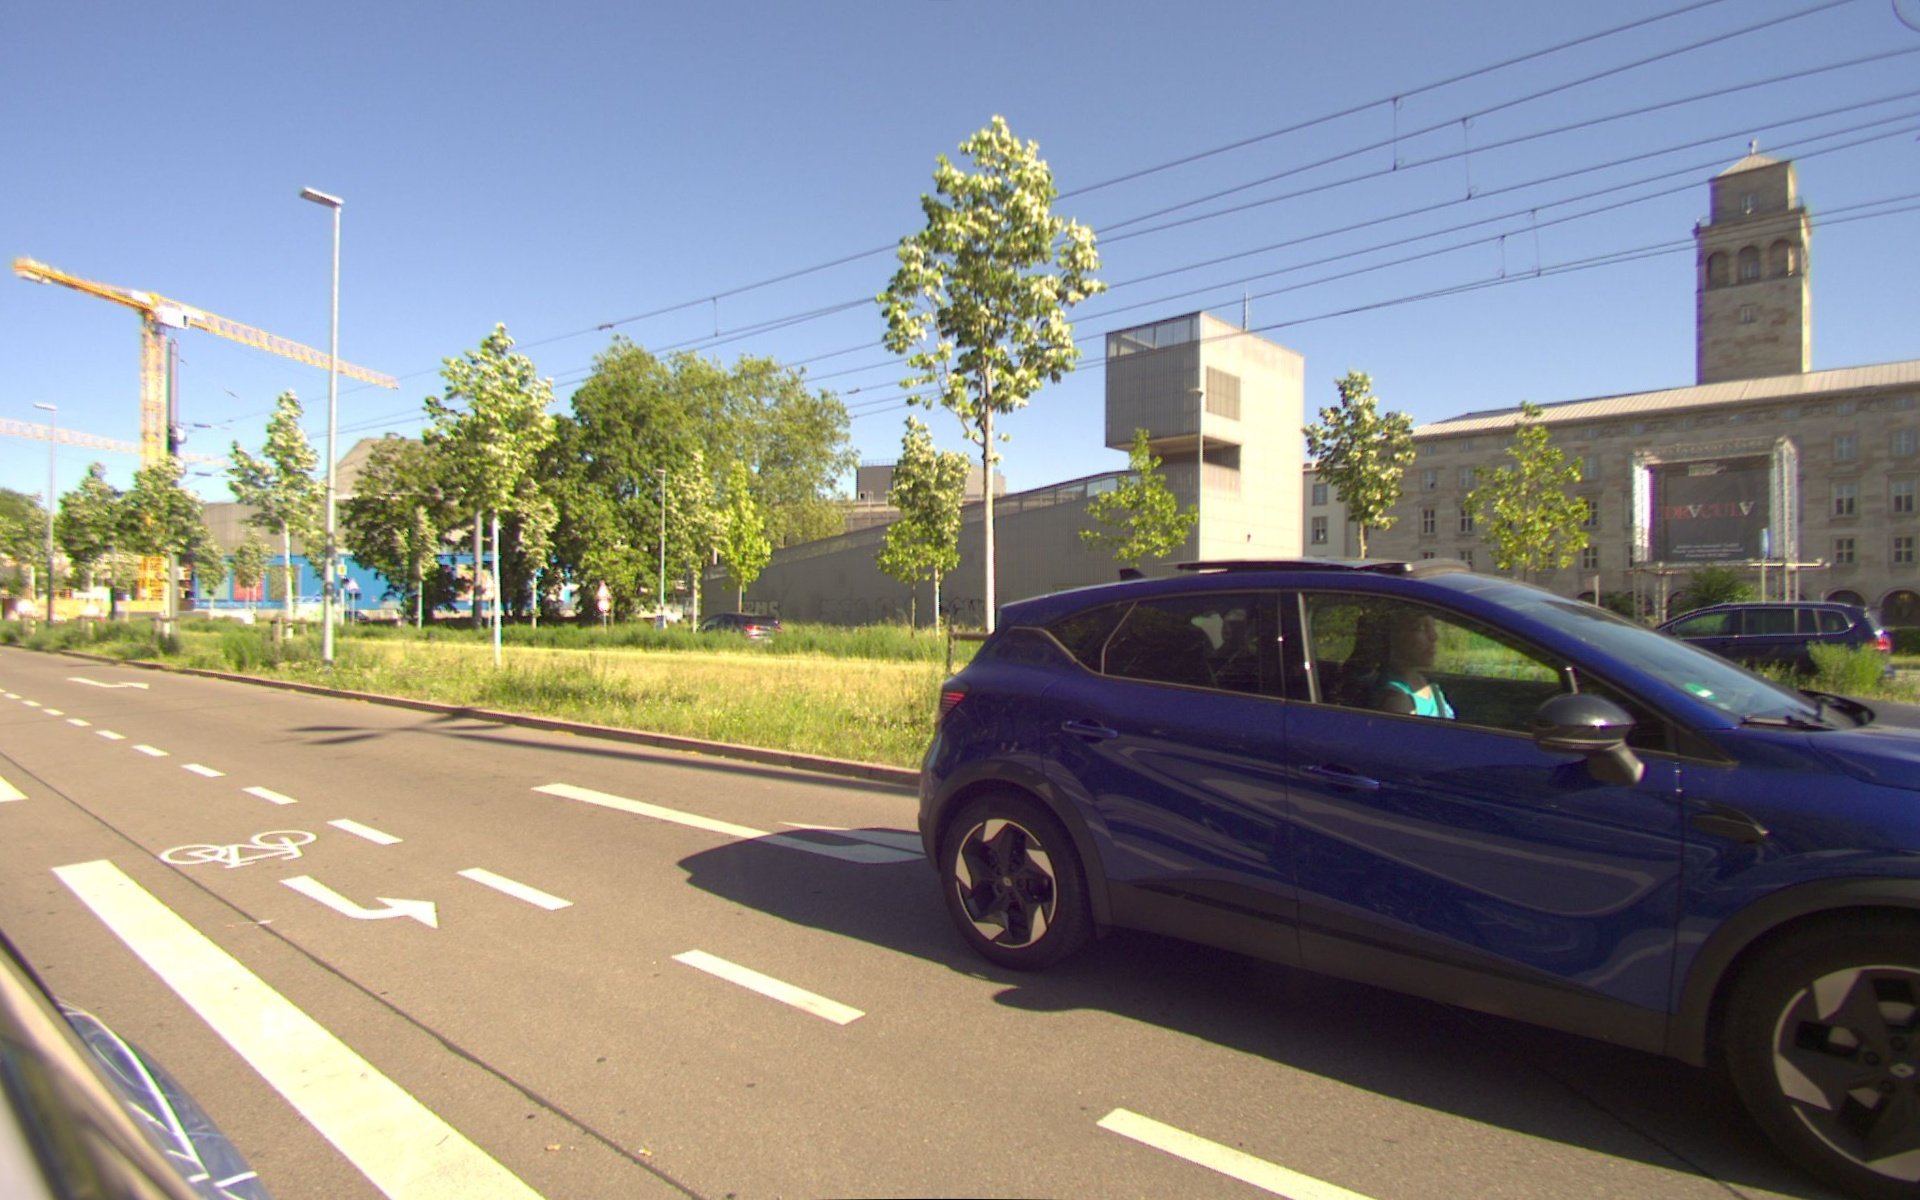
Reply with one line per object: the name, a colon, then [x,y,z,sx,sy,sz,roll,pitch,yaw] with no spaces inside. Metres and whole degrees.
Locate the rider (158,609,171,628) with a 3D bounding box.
rider: [-67.007,1.559,85.270,0.631,1.534,0.715,-1,-1,38]

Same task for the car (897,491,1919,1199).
car: [1.866,0.552,3.603,4.084,1.600,1.752,-1,1,40]

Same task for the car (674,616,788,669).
car: [-7.860,1.412,34.602,4.091,1.702,1.806,-1,-1,42]

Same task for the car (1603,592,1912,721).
car: [13.590,0.898,17.458,3.997,1.970,1.851,-1,-1,41]
